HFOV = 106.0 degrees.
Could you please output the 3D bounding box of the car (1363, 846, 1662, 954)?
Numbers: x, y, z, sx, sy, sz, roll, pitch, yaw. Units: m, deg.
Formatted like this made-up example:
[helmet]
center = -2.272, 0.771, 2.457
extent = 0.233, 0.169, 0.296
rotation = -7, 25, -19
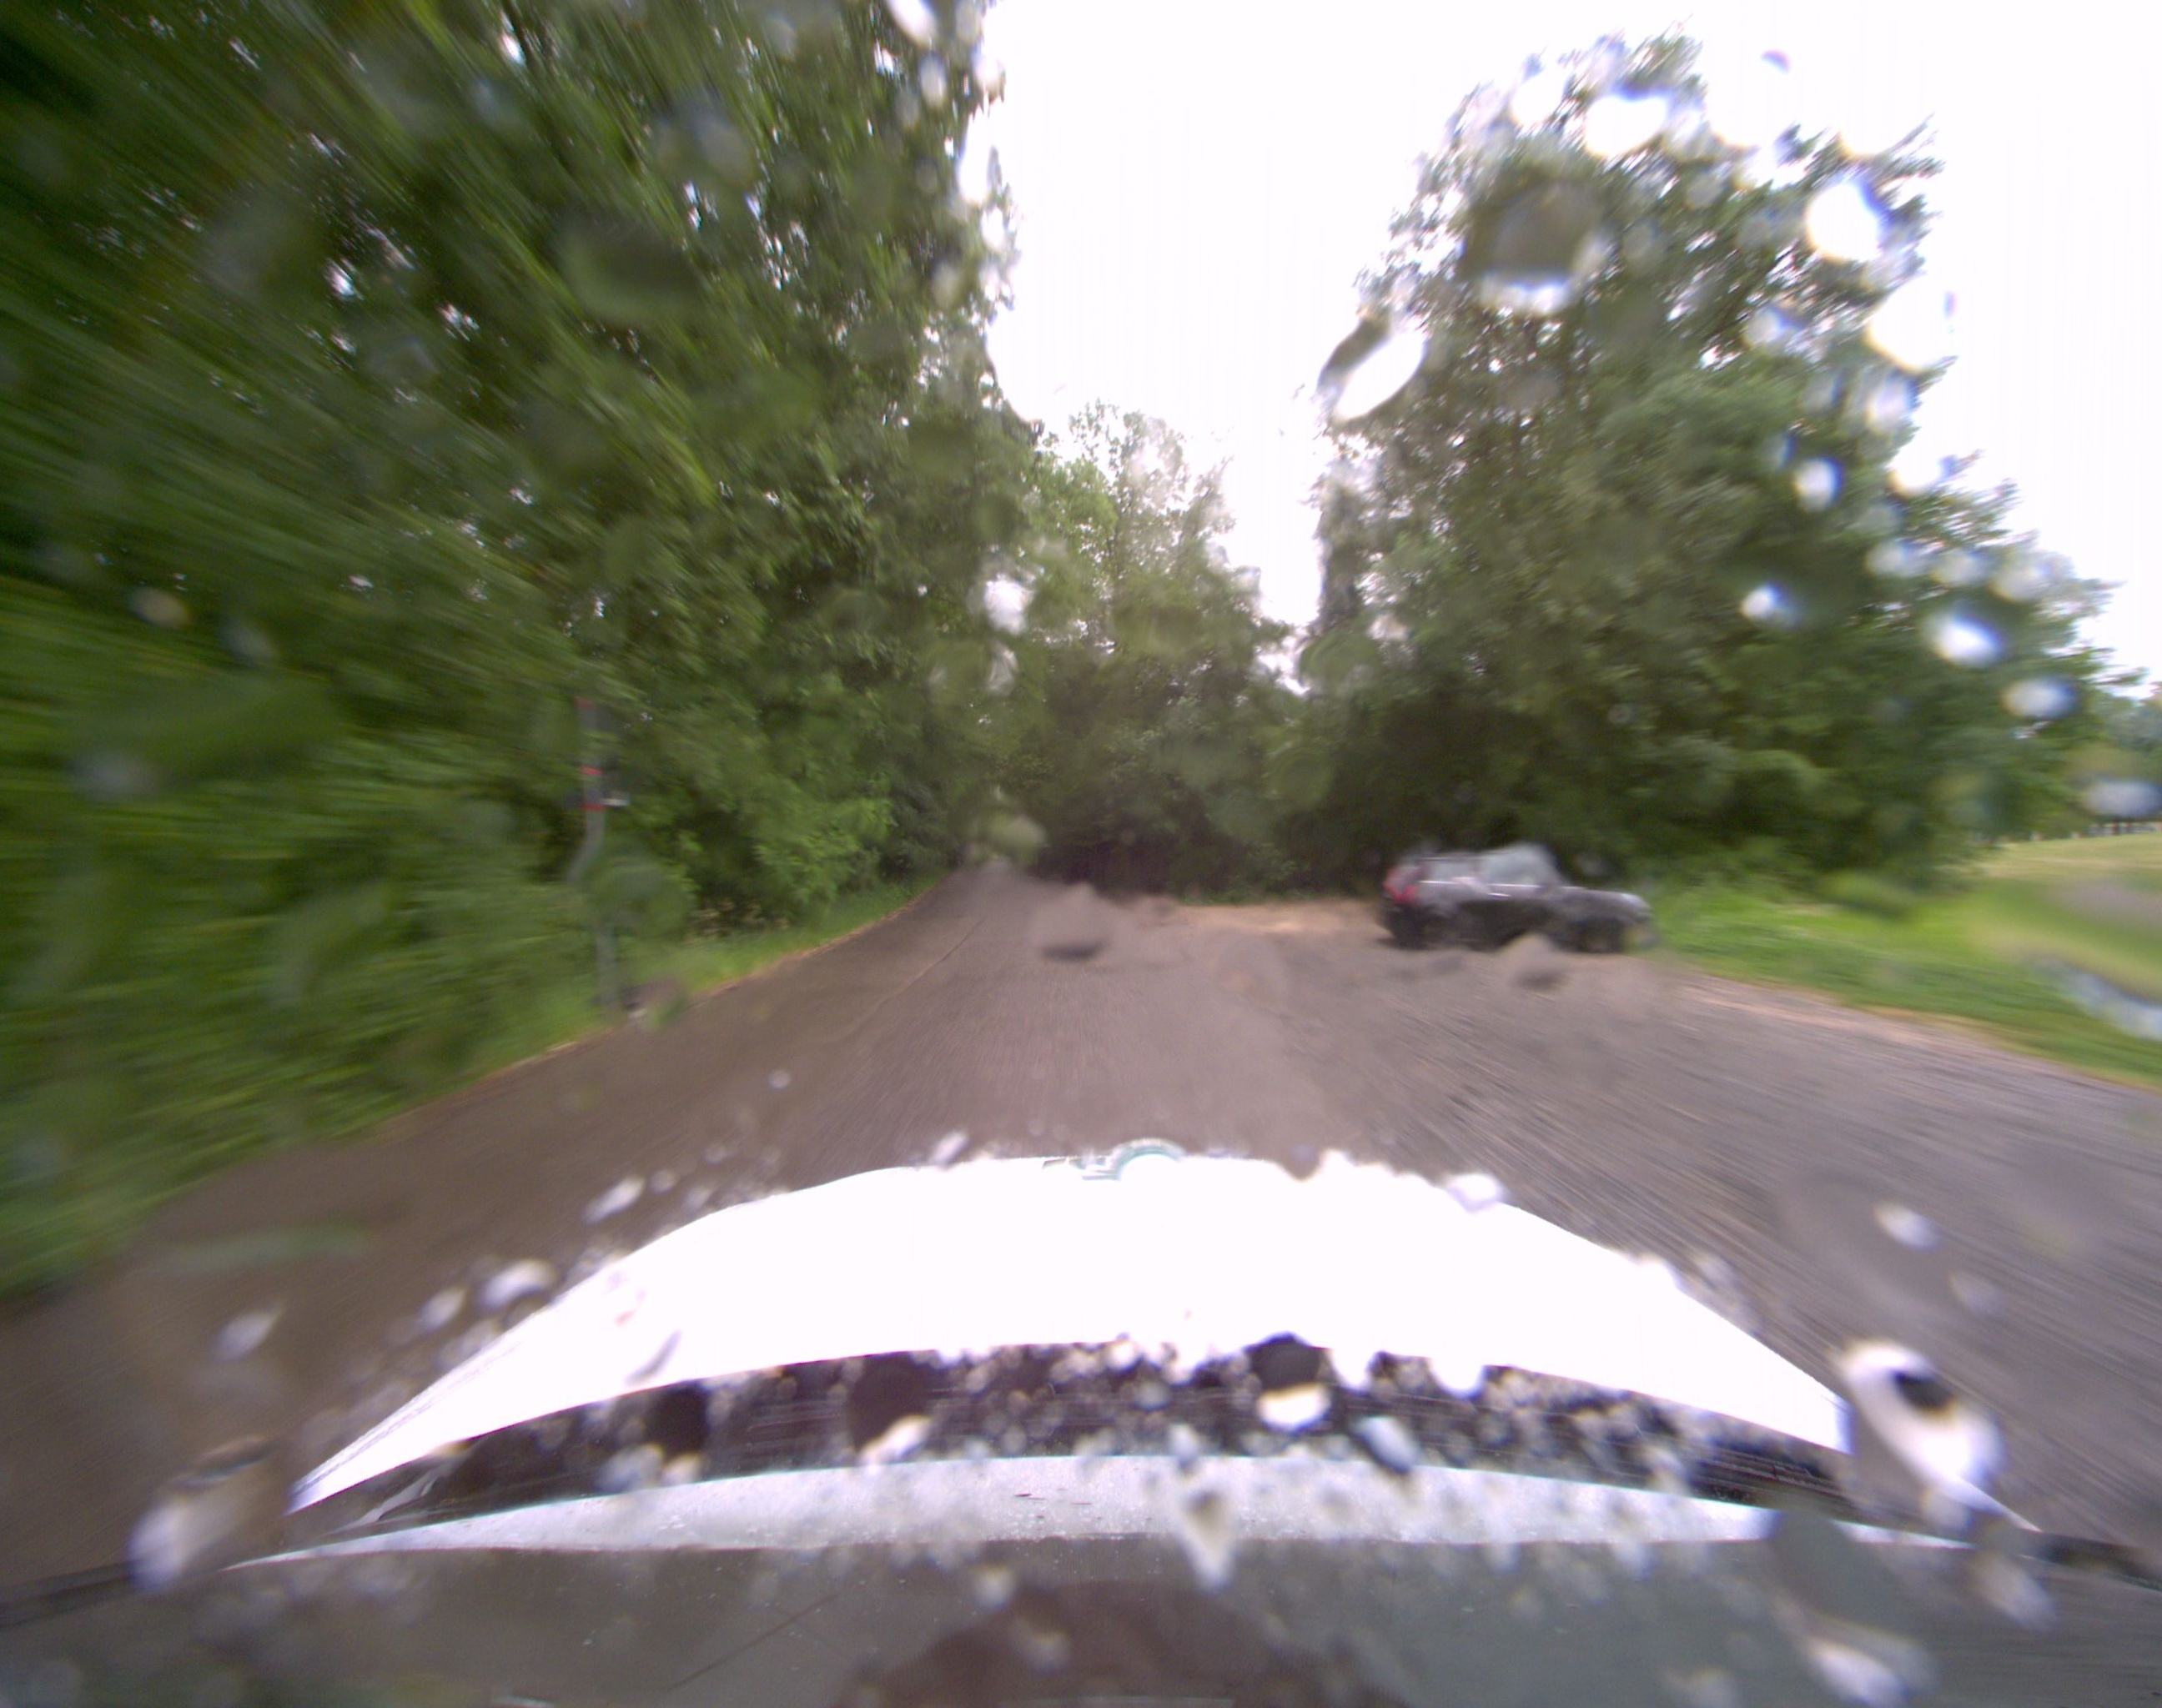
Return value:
[car]
center = 6.442, 0.646, 12.510
extent = 3.689, 1.436, 1.709
rotation = 1, 0, 5
